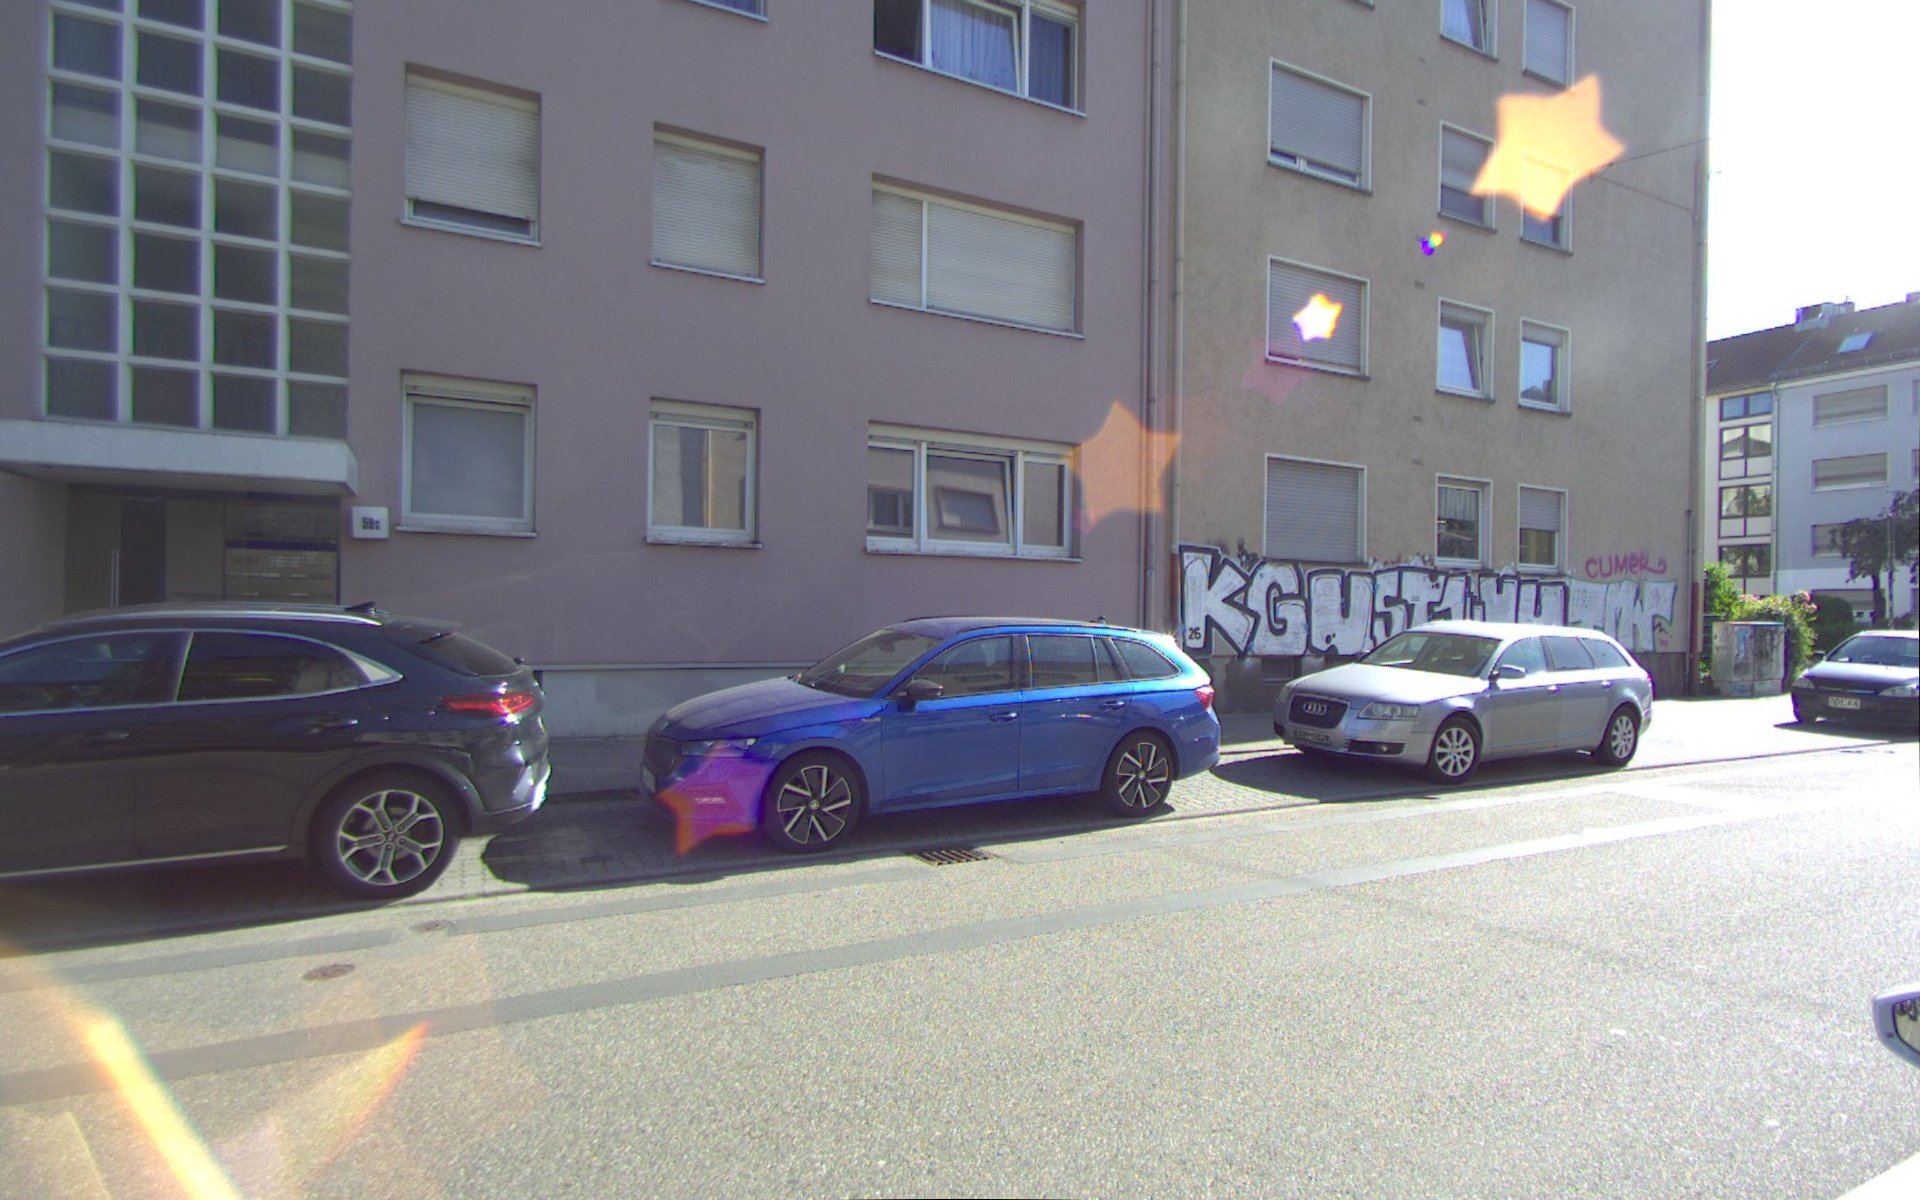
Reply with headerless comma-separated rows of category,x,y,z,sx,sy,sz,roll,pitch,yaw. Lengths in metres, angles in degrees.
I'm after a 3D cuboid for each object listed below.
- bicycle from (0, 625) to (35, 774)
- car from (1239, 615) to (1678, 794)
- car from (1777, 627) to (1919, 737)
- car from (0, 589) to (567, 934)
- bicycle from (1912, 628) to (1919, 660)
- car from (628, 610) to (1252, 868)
bicycle,-7.907,0.736,7.339,1.628,1.091,0.389,1,4,-27
car,5.363,0.965,10.658,4.755,1.485,1.710,1,2,-28
car,14.368,1.180,15.369,3.664,1.444,1.610,1,1,-28
car,-4.488,0.743,5.540,4.189,1.528,1.811,1,1,-26
bicycle,37.030,1.666,37.518,2.069,1.188,0.737,0,-1,40
car,-0.057,0.866,7.782,4.555,1.485,1.710,1,1,-28
